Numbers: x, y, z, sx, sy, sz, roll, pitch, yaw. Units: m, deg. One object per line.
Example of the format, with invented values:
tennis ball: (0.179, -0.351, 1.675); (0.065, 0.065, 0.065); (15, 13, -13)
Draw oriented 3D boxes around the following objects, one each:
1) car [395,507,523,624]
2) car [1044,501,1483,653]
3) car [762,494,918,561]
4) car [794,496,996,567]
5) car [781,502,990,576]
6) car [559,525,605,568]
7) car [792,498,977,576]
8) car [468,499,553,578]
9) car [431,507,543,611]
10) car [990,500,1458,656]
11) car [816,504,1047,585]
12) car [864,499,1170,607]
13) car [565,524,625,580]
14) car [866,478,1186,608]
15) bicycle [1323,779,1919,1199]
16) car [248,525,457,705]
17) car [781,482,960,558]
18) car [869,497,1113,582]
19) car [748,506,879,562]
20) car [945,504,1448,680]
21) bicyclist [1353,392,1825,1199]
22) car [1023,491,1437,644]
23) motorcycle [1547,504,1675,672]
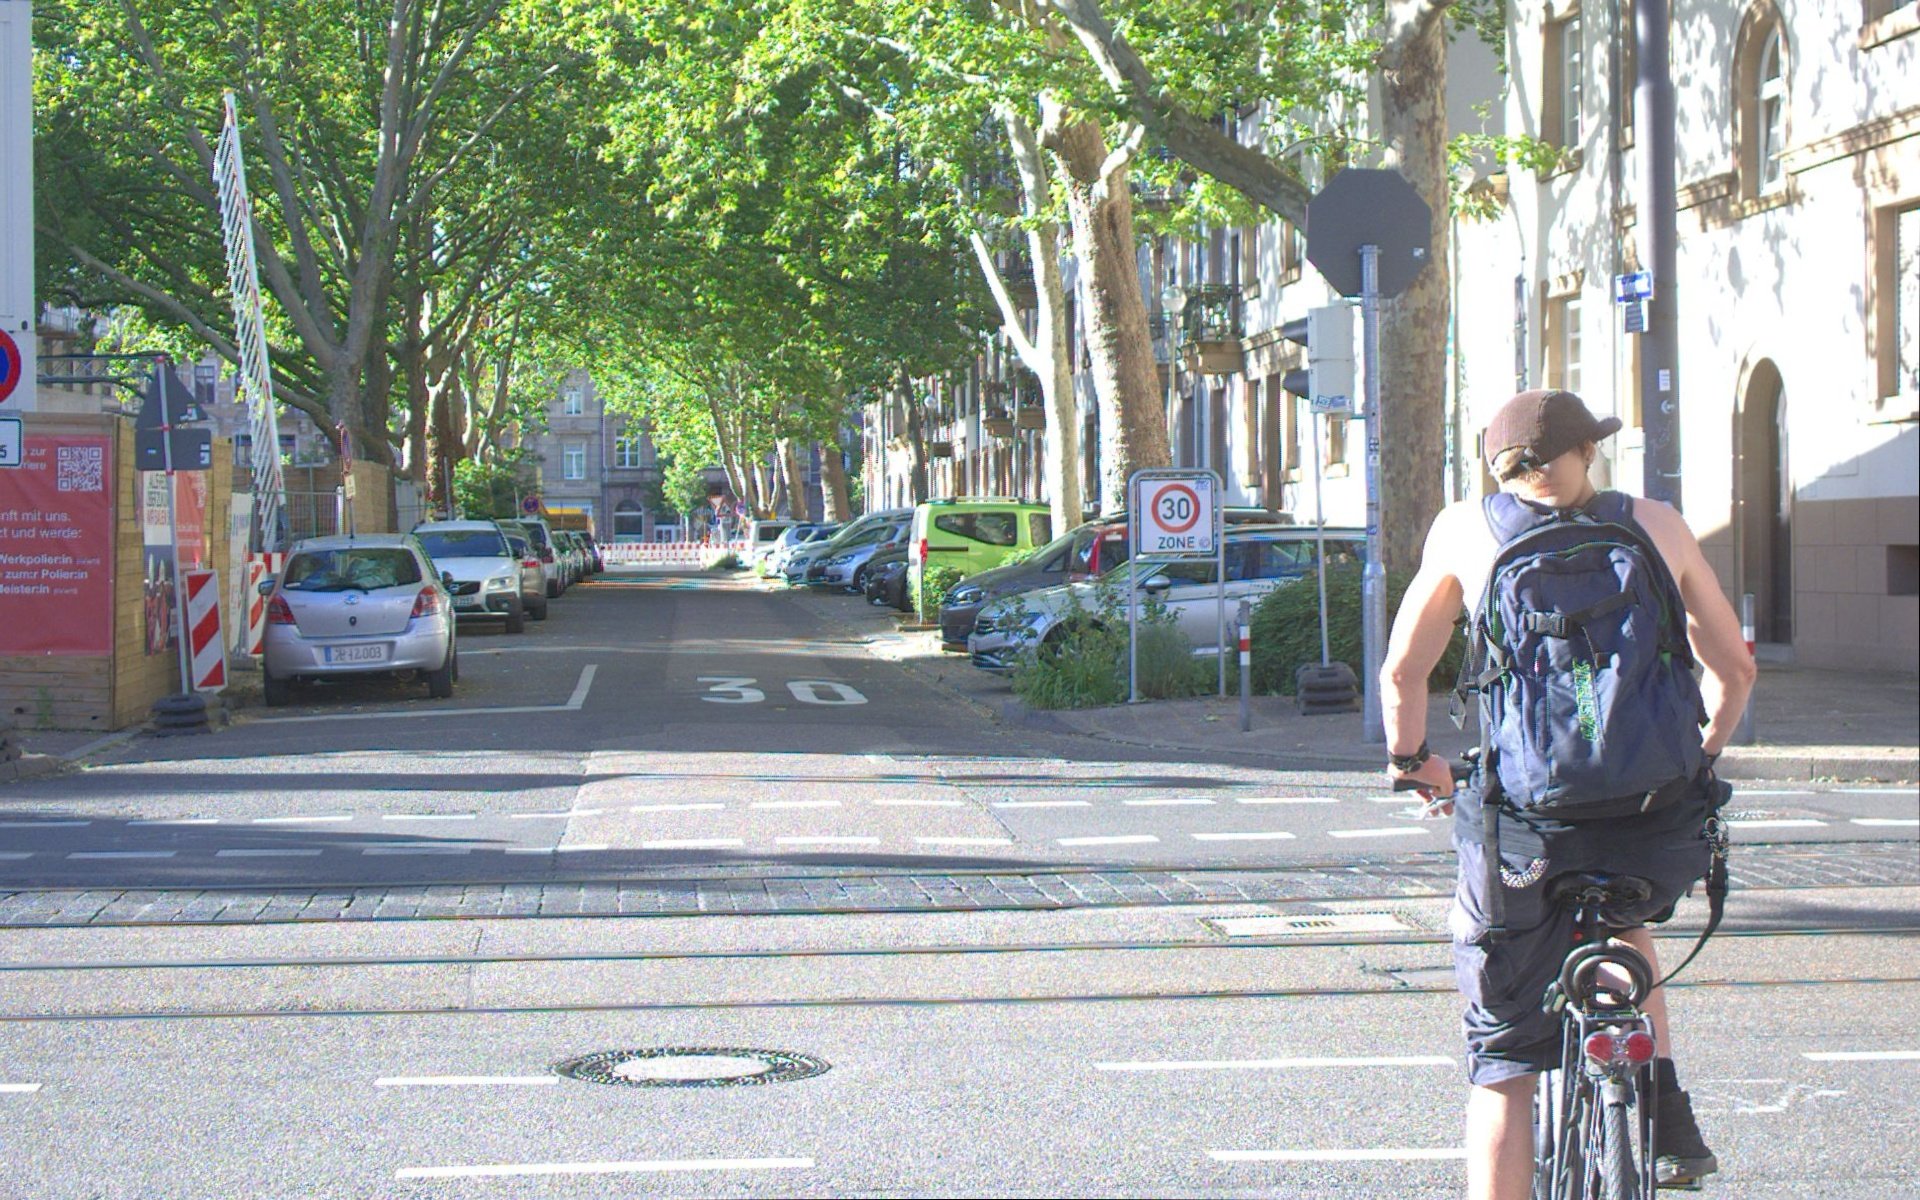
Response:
car: (-7.020, -0.518, 48.409); (1.665, 1.557, 4.001); (-1, 2, -7)
car: (3.241, -0.271, 37.122); (4.461, 1.565, 1.729); (-1, 1, -6)
car: (-3.545, -2.133, 100.941); (4.461, 1.891, 1.729); (-1, 1, -6)
car: (-1.492, -1.569, 78.131); (4.461, 1.565, 1.729); (-1, 1, -6)
car: (-1.661, -1.350, 75.793); (4.461, 1.565, 1.729); (-1, 1, -6)
car: (-14.448, -2.051, 131.254); (1.665, 1.557, 4.220); (-1, 2, -7)
car: (-1.887, -1.583, 85.447); (4.461, 1.891, 1.729); (-1, 1, -6)
car: (-9.228, -1.278, 70.752); (1.665, 1.557, 4.617); (-1, 2, -7)
car: (-7.404, -0.675, 54.104); (1.665, 1.557, 4.520); (-1, 2, -7)
car: (2.619, -0.248, 34.692); (4.461, 1.495, 1.729); (-1, 1, -6)
car: (-0.588, -1.125, 68.616); (4.461, 1.565, 1.729); (-1, 1, -6)
car: (0.840, -0.725, 52.134); (4.461, 1.565, 1.729); (-1, 1, -6)
car: (-10.697, -1.425, 100.540); (1.665, 1.557, 4.220); (-1, 2, -7)
car: (0.929, -0.845, 50.114); (4.461, 1.830, 1.729); (-1, 1, -6)
bicycle: (1.042, 0.891, 5.865); (0.689, 1.013, 1.907); (1, 1, 2)
car: (-5.652, 0.084, 32.338); (1.643, 1.489, 4.001); (-3, 2, -7)
car: (-2.320, -2.052, 88.179); (4.461, 1.891, 1.729); (-1, 1, -6)
car: (0.568, -1.162, 65.495); (4.461, 1.565, 1.729); (-1, 1, -6)
car: (-5.136, -2.320, 120.205); (4.461, 1.891, 1.729); (-1, 1, -6)
car: (2.172, -0.103, 32.191); (4.461, 1.565, 1.729); (-1, 1, -6)
bicyclist: (1.059, 0.414, 5.930); (0.676, 1.507, 0.669); (1, 1, 2)
car: (3.043, -0.387, 39.199); (4.461, 1.665, 1.729); (-1, 1, -6)
motorcycle: (5.338, -0.118, 28.284); (0.513, 1.328, 1.764); (0, 2, -7)
